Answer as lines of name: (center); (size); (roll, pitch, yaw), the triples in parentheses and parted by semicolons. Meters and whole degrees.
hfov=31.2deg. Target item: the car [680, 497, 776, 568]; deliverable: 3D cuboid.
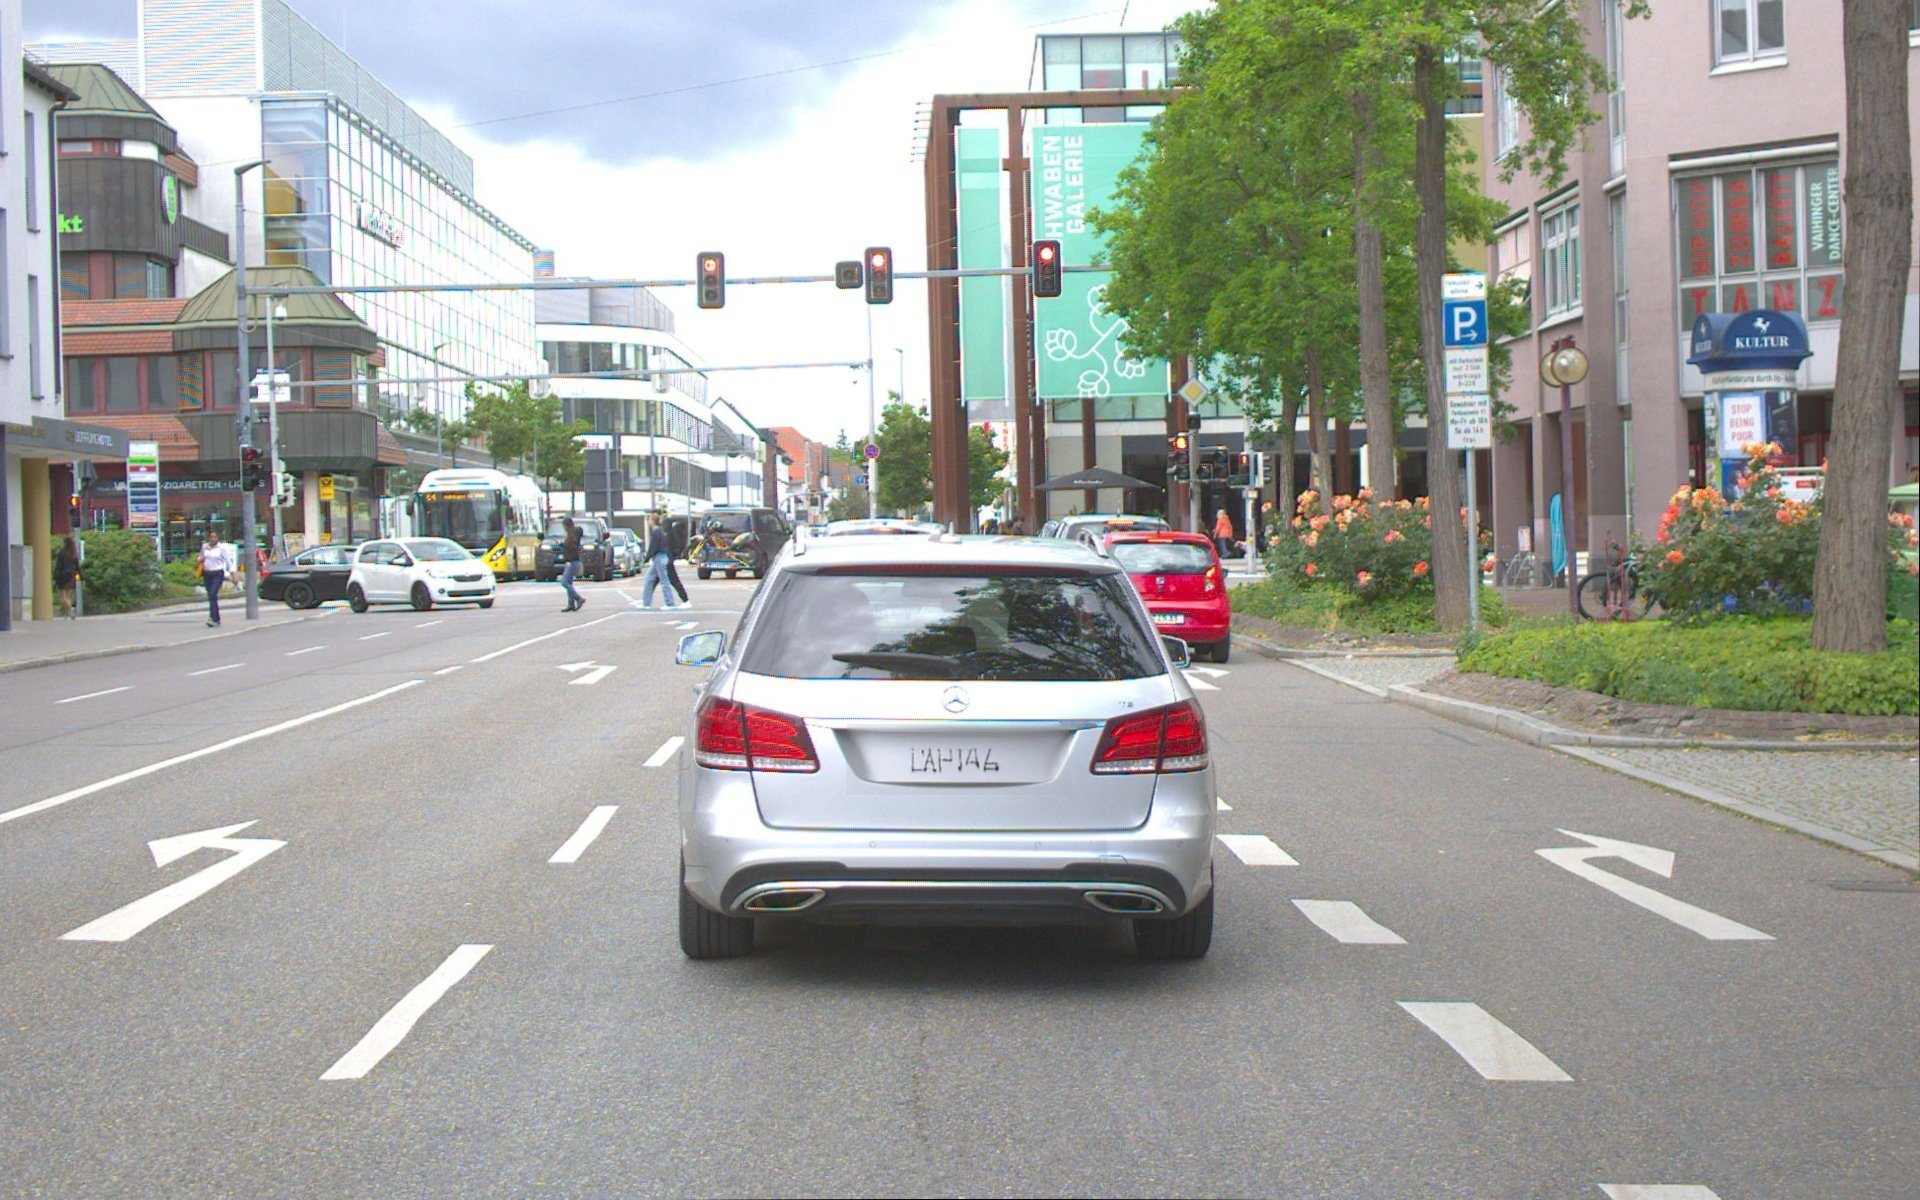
car: (-6.609, -1.950, 98.420); (1.994, 1.942, 4.950); (-1, 1, 5)

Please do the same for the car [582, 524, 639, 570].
car: (-10.931, -1.681, 107.756); (1.555, 1.387, 3.288); (-1, 1, -2)

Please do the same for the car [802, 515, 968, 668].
car: (-0.776, -0.126, 35.823); (1.640, 1.522, 3.394); (0, 1, -1)

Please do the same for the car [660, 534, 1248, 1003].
car: (-0.149, 0.489, 12.922); (1.815, 1.443, 4.370); (1, 1, -4)

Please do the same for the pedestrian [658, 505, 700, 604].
pedestrian: (-5.039, -0.818, 61.594); (0.645, 1.769, 0.570); (-1, 1, 3)

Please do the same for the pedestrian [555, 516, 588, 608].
pedestrian: (-6.974, -0.688, 61.705); (0.557, 1.645, 0.654); (-1, 1, -7)

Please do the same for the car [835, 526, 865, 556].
car: (-6.372, -3.414, 199.536); (1.716, 1.700, 4.065); (-1, 1, -2)

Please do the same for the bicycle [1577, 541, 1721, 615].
bicycle: (9.560, -0.303, 47.719); (1.901, 0.994, 0.468); (-1, 1, 4)

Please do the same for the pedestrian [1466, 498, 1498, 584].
pedestrian: (10.940, -1.240, 72.054); (0.568, 1.769, 0.647); (-1, 1, 3)

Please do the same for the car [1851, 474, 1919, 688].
car: (9.351, -0.193, 29.640); (1.880, 1.869, 4.606); (-2, 1, -3)

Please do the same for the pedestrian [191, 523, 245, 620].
pedestrian: (-12.463, -0.485, 57.757); (0.728, 1.604, 0.753); (-1, 1, -1)

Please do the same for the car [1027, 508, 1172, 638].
car: (1.817, -0.388, 45.751); (1.586, 1.628, 3.917); (1, 1, -2)

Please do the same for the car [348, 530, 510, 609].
car: (-10.583, -0.599, 68.400); (1.574, 1.483, 3.462); (-3, 2, -40)

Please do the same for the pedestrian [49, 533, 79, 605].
pedestrian: (-18.050, -0.627, 69.252); (0.450, 1.423, 0.441); (-1, 1, 0)

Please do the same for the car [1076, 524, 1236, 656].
car: (2.230, -0.146, 39.743); (1.586, 1.438, 3.348); (1, 1, -1)

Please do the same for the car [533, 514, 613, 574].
car: (-11.266, -1.657, 100.317); (1.993, 1.700, 4.065); (-1, 1, -2)

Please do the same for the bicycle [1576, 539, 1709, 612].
bicycle: (9.576, -0.343, 48.265); (1.769, 0.994, 0.447); (-1, 1, 4)

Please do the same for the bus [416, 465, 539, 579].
bus: (-14.364, -2.341, 102.913); (2.686, 3.249, 8.654); (-1, 1, -2)

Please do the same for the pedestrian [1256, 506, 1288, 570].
pedestrian: (8.026, -1.593, 88.420); (0.651, 1.645, 0.559); (-1, 1, -15)

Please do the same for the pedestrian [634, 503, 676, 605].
pedestrian: (-5.404, -0.823, 60.982); (0.647, 1.784, 0.684); (-1, 1, 0)

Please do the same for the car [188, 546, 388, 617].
car: (-15.256, -0.426, 78.142); (4.187, 1.525, 1.790); (-1, 1, 0)
